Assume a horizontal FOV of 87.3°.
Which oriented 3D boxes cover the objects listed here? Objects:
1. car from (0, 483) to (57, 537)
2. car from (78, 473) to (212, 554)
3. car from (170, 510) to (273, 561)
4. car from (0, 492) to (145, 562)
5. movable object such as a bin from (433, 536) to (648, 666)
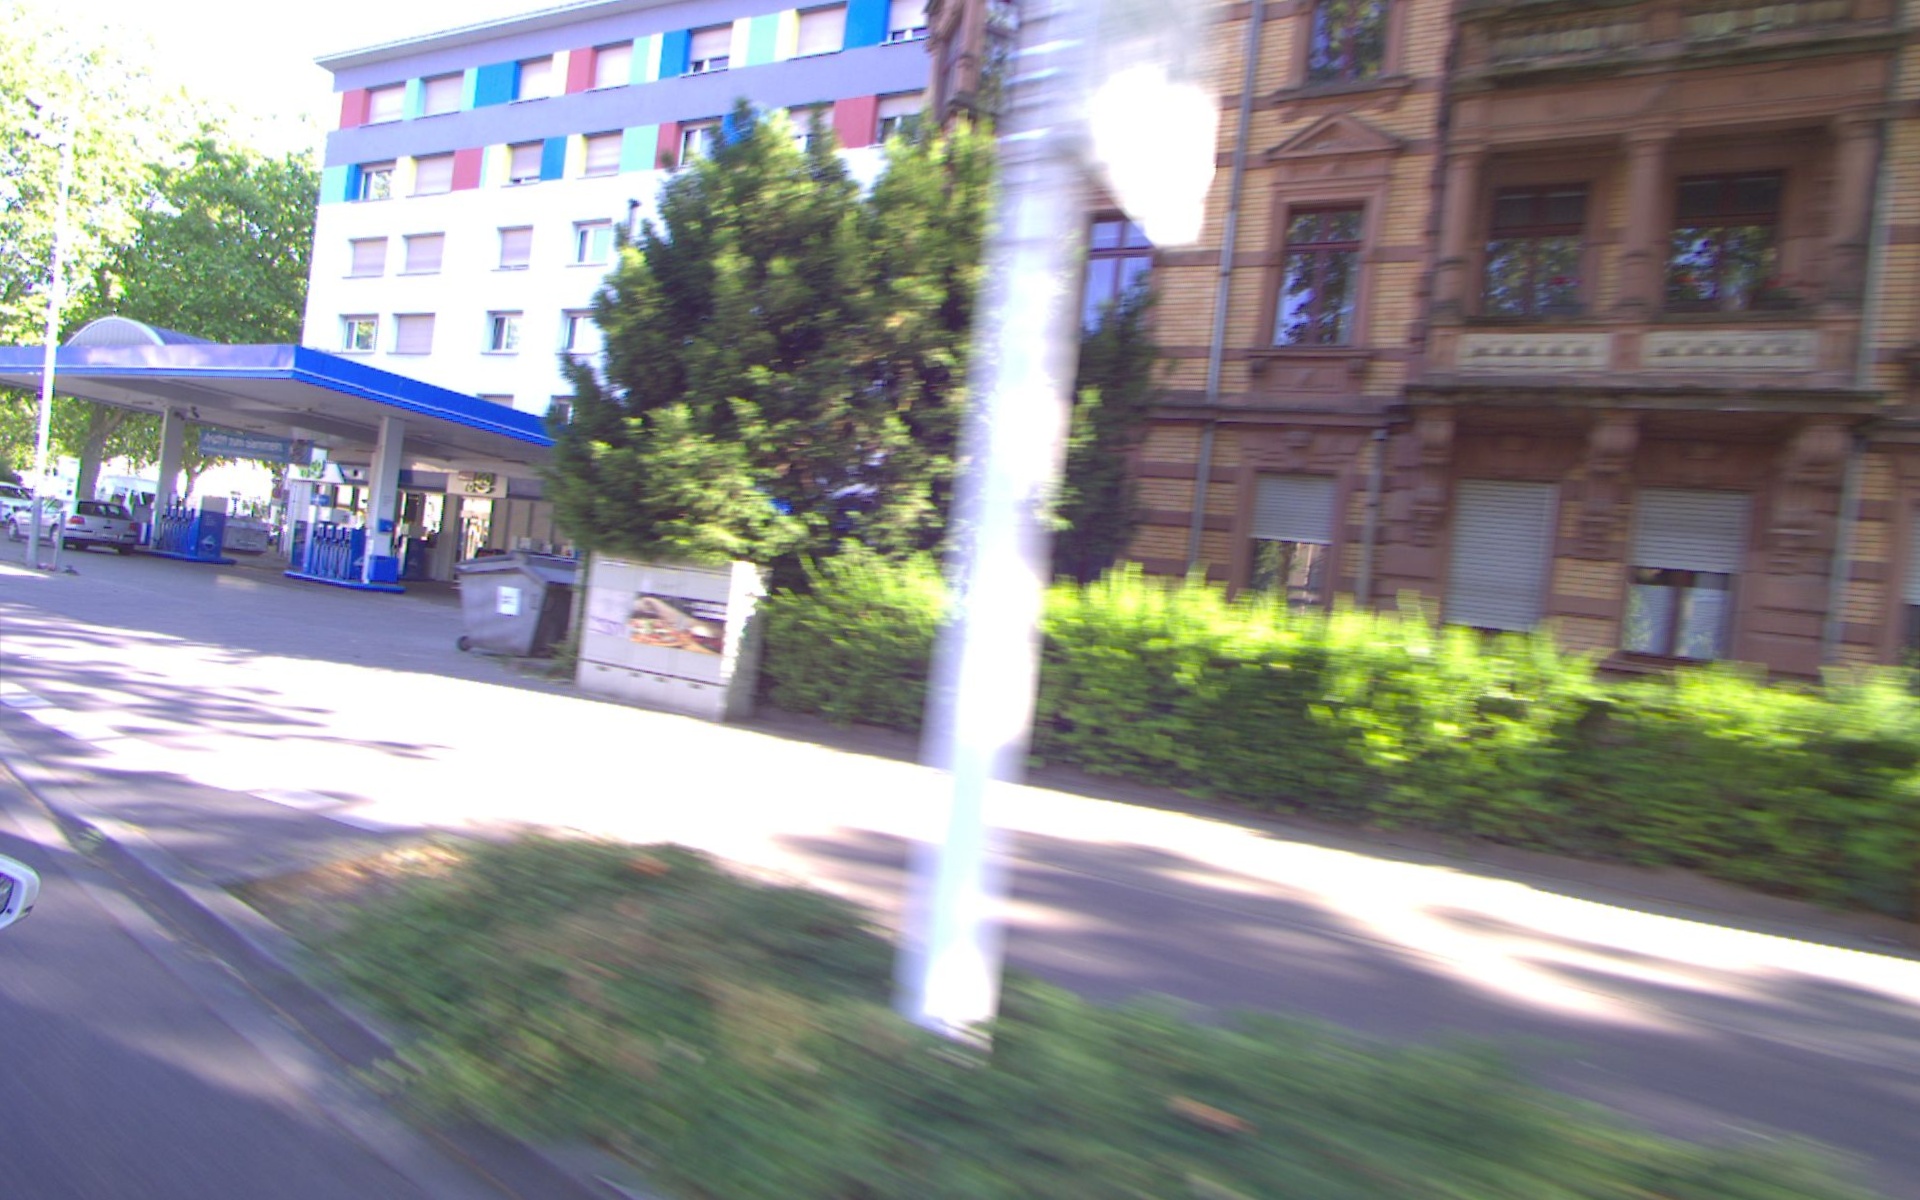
[{"bbox_3d":[-37.410,-3.640,39.006,4.713,1.756,1.864,8,0,26],"label":"car"},{"bbox_3d":[-35.837,-3.825,44.215,5.694,2.868,2.246,7,0,26],"label":"car"},{"bbox_3d":[-33.649,-2.930,45.857,3.928,1.760,1.999,7,-1,24],"label":"car"},{"bbox_3d":[-24.610,-2.034,27.803,4.025,1.448,1.571,7,0,26],"label":"car"},{"bbox_3d":[-5.835,0.052,14.140,1.714,1.509,2.042,7,-1,22],"label":"movable object such as a bin"}]
